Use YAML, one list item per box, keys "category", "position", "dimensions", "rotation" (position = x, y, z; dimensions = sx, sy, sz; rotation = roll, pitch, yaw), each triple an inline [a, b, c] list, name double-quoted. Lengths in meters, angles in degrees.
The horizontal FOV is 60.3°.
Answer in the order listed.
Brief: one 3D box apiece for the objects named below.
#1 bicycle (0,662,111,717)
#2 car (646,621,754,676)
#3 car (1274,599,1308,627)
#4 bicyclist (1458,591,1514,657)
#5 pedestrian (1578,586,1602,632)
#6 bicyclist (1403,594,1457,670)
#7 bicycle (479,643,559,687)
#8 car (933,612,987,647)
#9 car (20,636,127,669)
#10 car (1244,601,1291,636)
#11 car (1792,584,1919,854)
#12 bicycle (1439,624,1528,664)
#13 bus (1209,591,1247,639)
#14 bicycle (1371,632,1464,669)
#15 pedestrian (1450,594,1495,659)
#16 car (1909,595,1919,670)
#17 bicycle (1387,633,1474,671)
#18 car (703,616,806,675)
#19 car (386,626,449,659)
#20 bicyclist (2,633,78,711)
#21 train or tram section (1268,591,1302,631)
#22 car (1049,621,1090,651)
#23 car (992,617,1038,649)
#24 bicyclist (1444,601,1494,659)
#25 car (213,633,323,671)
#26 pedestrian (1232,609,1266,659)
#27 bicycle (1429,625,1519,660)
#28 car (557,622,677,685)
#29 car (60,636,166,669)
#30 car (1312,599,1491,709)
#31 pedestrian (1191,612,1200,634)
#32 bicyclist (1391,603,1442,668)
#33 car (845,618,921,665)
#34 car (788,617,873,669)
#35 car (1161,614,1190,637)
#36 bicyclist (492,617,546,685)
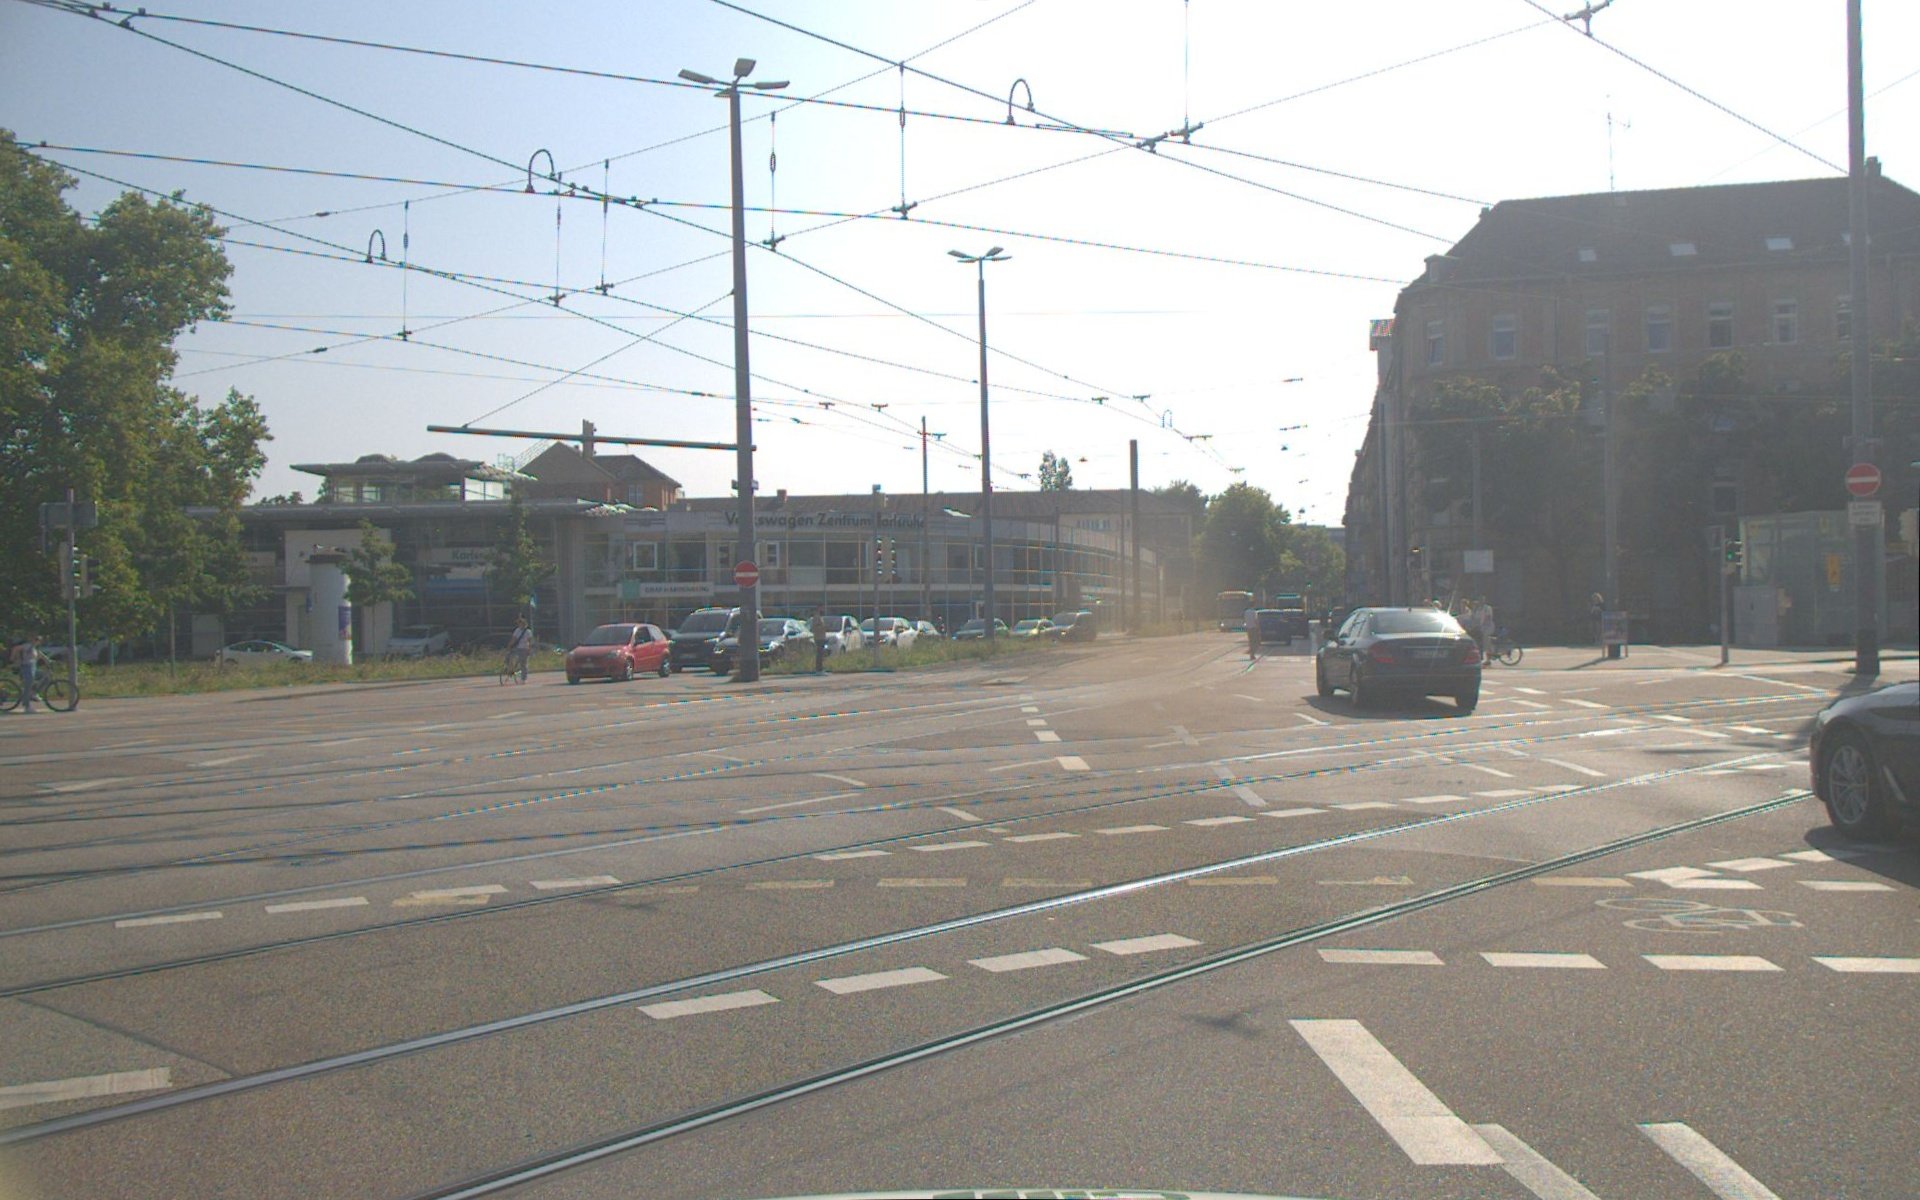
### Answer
- category: "bicycle"
  position: [-18.903, 1.821, 33.812]
  dimensions: [2.559, 1.075, 0.956]
  rotation: [2, -2, -18]
- category: "car"
  position: [-7.873, 1.444, 50.504]
  dimensions: [1.919, 1.501, 4.003]
  rotation: [-3, -1, 11]
- category: "car"
  position: [18.378, 0.706, 91.946]
  dimensions: [1.786, 1.453, 4.416]
  rotation: [-1, 0, 11]
- category: "bicyclist"
  position: [14.064, 0.639, 44.239]
  dimensions: [0.928, 1.738, 1.077]
  rotation: [0, -1, -41]
- category: "pedestrian"
  position: [20.788, 0.282, 54.576]
  dimensions: [0.537, 1.496, 0.664]
  rotation: [-2, -1, 42]
- category: "bicyclist"
  position: [13.015, 0.877, 45.824]
  dimensions: [0.928, 2.060, 1.077]
  rotation: [0, -1, -41]
- category: "bicycle"
  position: [-11.619, 1.702, 43.647]
  dimensions: [0.937, 1.075, 2.610]
  rotation: [-1, -1, 12]
- category: "car"
  position: [0.022, 1.332, 76.701]
  dimensions: [1.580, 1.501, 4.003]
  rotation: [-3, -1, 12]
- category: "car"
  position: [-43.759, 2.581, 81.753]
  dimensions: [1.667, 1.549, 4.509]
  rotation: [-1, -1, 28]
- category: "car"
  position: [13.702, 0.793, 73.505]
  dimensions: [1.786, 1.453, 4.416]
  rotation: [-1, 0, 13]
- category: "car"
  position: [6.210, 0.662, 8.374]
  dimensions: [1.648, 1.518, 4.673]
  rotation: [0, 0, 0]
- category: "bicycle"
  position: [14.002, 1.165, 44.174]
  dimensions: [2.603, 0.981, 1.077]
  rotation: [-1, -1, -41]
- category: "bus"
  position: [21.971, 1.255, 135.991]
  dimensions: [2.858, 3.682, 16.759]
  rotation: [-1, -1, 9]
- category: "bicycle"
  position: [13.315, 1.451, 48.137]
  dimensions: [2.588, 0.981, 1.083]
  rotation: [-1, -1, -28]
- category: "pedestrian"
  position: [14.621, 0.745, 47.176]
  dimensions: [0.921, 1.828, 0.846]
  rotation: [0, -1, -44]
- category: "car"
  position: [26.609, 0.806, 42.678]
  dimensions: [4.194, 1.891, 1.890]
  rotation: [0, -1, -32]
- category: "bicycle"
  position: [13.060, 1.431, 45.843]
  dimensions: [2.603, 0.981, 1.077]
  rotation: [-1, -1, -41]
- category: "car"
  position: [-5.641, 1.231, 45.821]
  dimensions: [1.580, 1.501, 4.003]
  rotation: [-3, -1, 11]
- category: "car"
  position: [-26.681, 2.083, 81.416]
  dimensions: [1.664, 1.549, 4.099]
  rotation: [-1, -1, 1]
- category: "bicyclist"
  position: [-18.814, 1.464, 33.852]
  dimensions: [1.144, 1.554, 0.956]
  rotation: [1, -2, -17]
- category: "train or tram section"
  position: [31.997, 1.098, 163.360]
  dimensions: [2.598, 3.764, 10.597]
  rotation: [-1, 0, 8]
- category: "car"
  position: [5.993, 1.950, 90.337]
  dimensions: [1.580, 1.501, 4.003]
  rotation: [-3, -1, 12]
- category: "car"
  position: [2.812, 1.640, 83.892]
  dimensions: [1.580, 1.501, 4.003]
  rotation: [-3, -1, 12]
- category: "bicyclist"
  position: [15.313, 0.905, 49.757]
  dimensions: [0.923, 1.709, 1.083]
  rotation: [-1, -1, -27]
- category: "car"
  position: [-29.742, 2.237, 71.159]
  dimensions: [4.001, 1.549, 1.705]
  rotation: [-1, -1, 1]
- category: "pedestrian"
  position: [8.944, 1.039, 51.207]
  dimensions: [0.767, 1.530, 0.705]
  rotation: [-1, -1, -24]
- category: "bicycle"
  position: [15.486, 1.276, 49.848]
  dimensions: [2.588, 0.981, 1.083]
  rotation: [-1, -1, -28]
- category: "car"
  position: [-8.941, 1.368, 43.446]
  dimensions: [1.580, 1.501, 4.003]
  rotation: [-3, -1, 11]
- category: "car"
  position: [-41.488, 2.556, 81.132]
  dimensions: [1.667, 1.549, 4.509]
  rotation: [-1, -1, 28]
- category: "car"
  position: [6.475, 0.763, 24.700]
  dimensions: [1.647, 1.468, 4.373]
  rotation: [-1, -1, 2]
- category: "pedestrian"
  position: [17.900, 1.732, 125.700]
  dimensions: [0.582, 1.659, 0.638]
  rotation: [-1, -1, 13]
- category: "bicyclist"
  position: [13.295, 1.022, 48.132]
  dimensions: [0.923, 1.831, 1.083]
  rotation: [-1, -1, -27]
- category: "car"
  position: [-2.646, 1.435, 57.686]
  dimensions: [1.580, 1.501, 4.003]
  rotation: [-3, -1, 12]
- category: "car"
  position: [-4.056, 1.329, 52.289]
  dimensions: [1.580, 1.501, 4.003]
  rotation: [-3, -1, 11]
- category: "car"
  position: [15.117, 1.797, 116.055]
  dimensions: [1.580, 1.501, 4.003]
  rotation: [-3, -1, 12]
- category: "bicyclist"
  position: [-11.630, 1.337, 43.612]
  dimensions: [0.937, 1.779, 1.167]
  rotation: [-1, -1, 13]
